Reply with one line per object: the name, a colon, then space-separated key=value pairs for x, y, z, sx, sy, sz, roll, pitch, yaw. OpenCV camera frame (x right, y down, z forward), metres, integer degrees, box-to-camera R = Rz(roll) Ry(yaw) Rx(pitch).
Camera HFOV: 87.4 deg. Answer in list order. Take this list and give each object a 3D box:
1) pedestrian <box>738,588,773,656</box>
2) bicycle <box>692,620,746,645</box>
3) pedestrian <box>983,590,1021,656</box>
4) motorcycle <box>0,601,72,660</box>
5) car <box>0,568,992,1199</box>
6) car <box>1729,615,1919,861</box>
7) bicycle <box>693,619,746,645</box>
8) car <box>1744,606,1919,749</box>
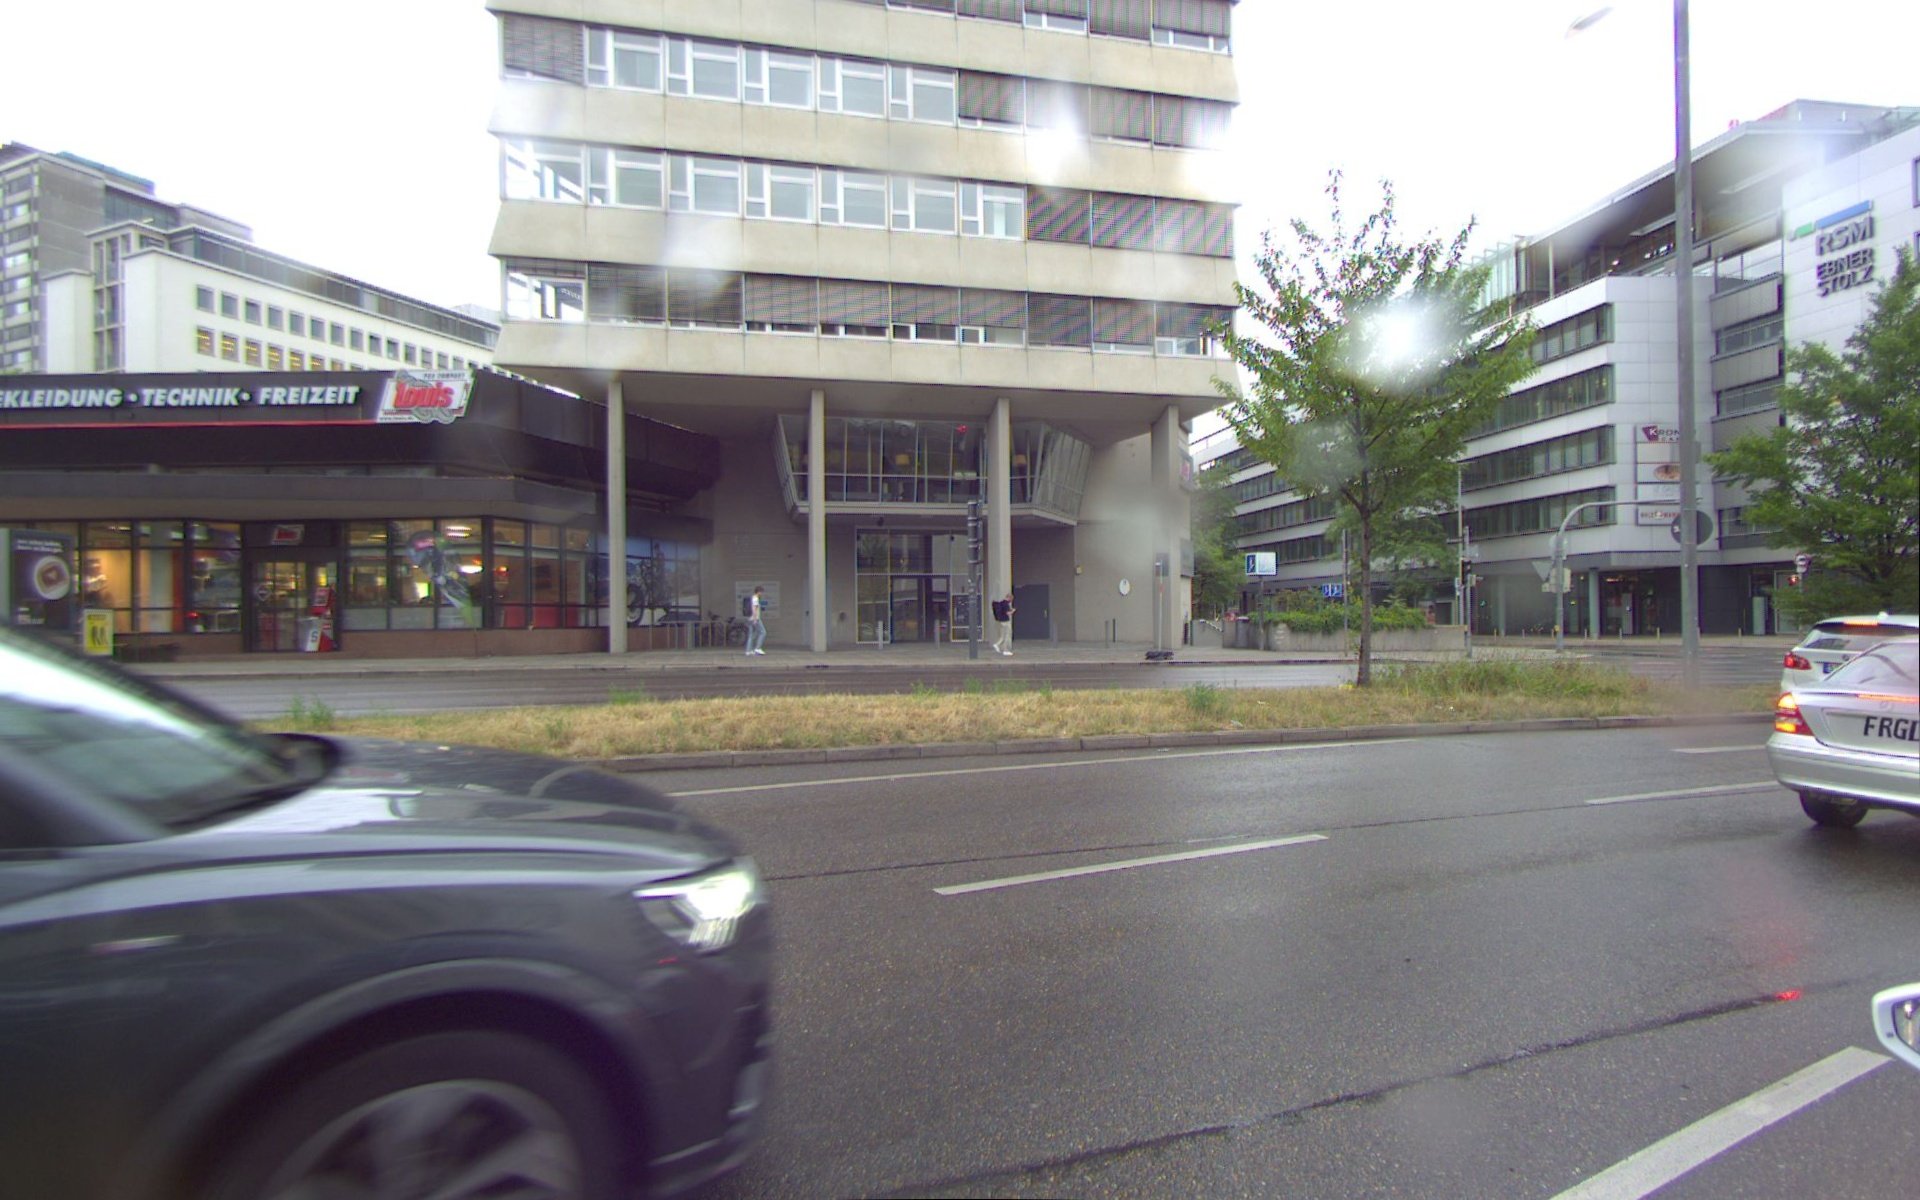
pedestrian: x=-5.638 y=0.602 z=27.609 sx=0.909 sy=1.857 sz=0.817 roll=1 pitch=0 yaw=-14
bicycle: x=-8.096 y=1.090 z=33.777 sx=1.743 sy=0.823 sz=0.454 roll=1 pitch=0 yaw=-12
pedestrian: x=1.219 y=0.669 z=29.079 sx=0.909 sy=1.857 sz=0.727 roll=1 pitch=-1 yaw=-14
motorcycle: x=-23.568 y=0.737 z=24.690 sx=0.788 sy=1.392 sz=2.893 roll=1 pitch=0 yaw=3
car: x=-2.213 y=0.685 z=1.940 sx=4.242 sy=1.454 sz=1.925 roll=1 pitch=-1 yaw=-34
car: x=7.711 y=0.878 z=7.217 sx=4.137 sy=1.505 sz=1.678 roll=1 pitch=-1 yaw=-23
bicycle: x=-8.210 y=1.091 z=34.357 sx=1.743 sy=0.823 sz=0.454 roll=1 pitch=0 yaw=-12
car: x=12.493 y=0.919 z=12.962 sx=3.937 sy=1.617 sz=1.883 roll=1 pitch=0 yaw=-18
